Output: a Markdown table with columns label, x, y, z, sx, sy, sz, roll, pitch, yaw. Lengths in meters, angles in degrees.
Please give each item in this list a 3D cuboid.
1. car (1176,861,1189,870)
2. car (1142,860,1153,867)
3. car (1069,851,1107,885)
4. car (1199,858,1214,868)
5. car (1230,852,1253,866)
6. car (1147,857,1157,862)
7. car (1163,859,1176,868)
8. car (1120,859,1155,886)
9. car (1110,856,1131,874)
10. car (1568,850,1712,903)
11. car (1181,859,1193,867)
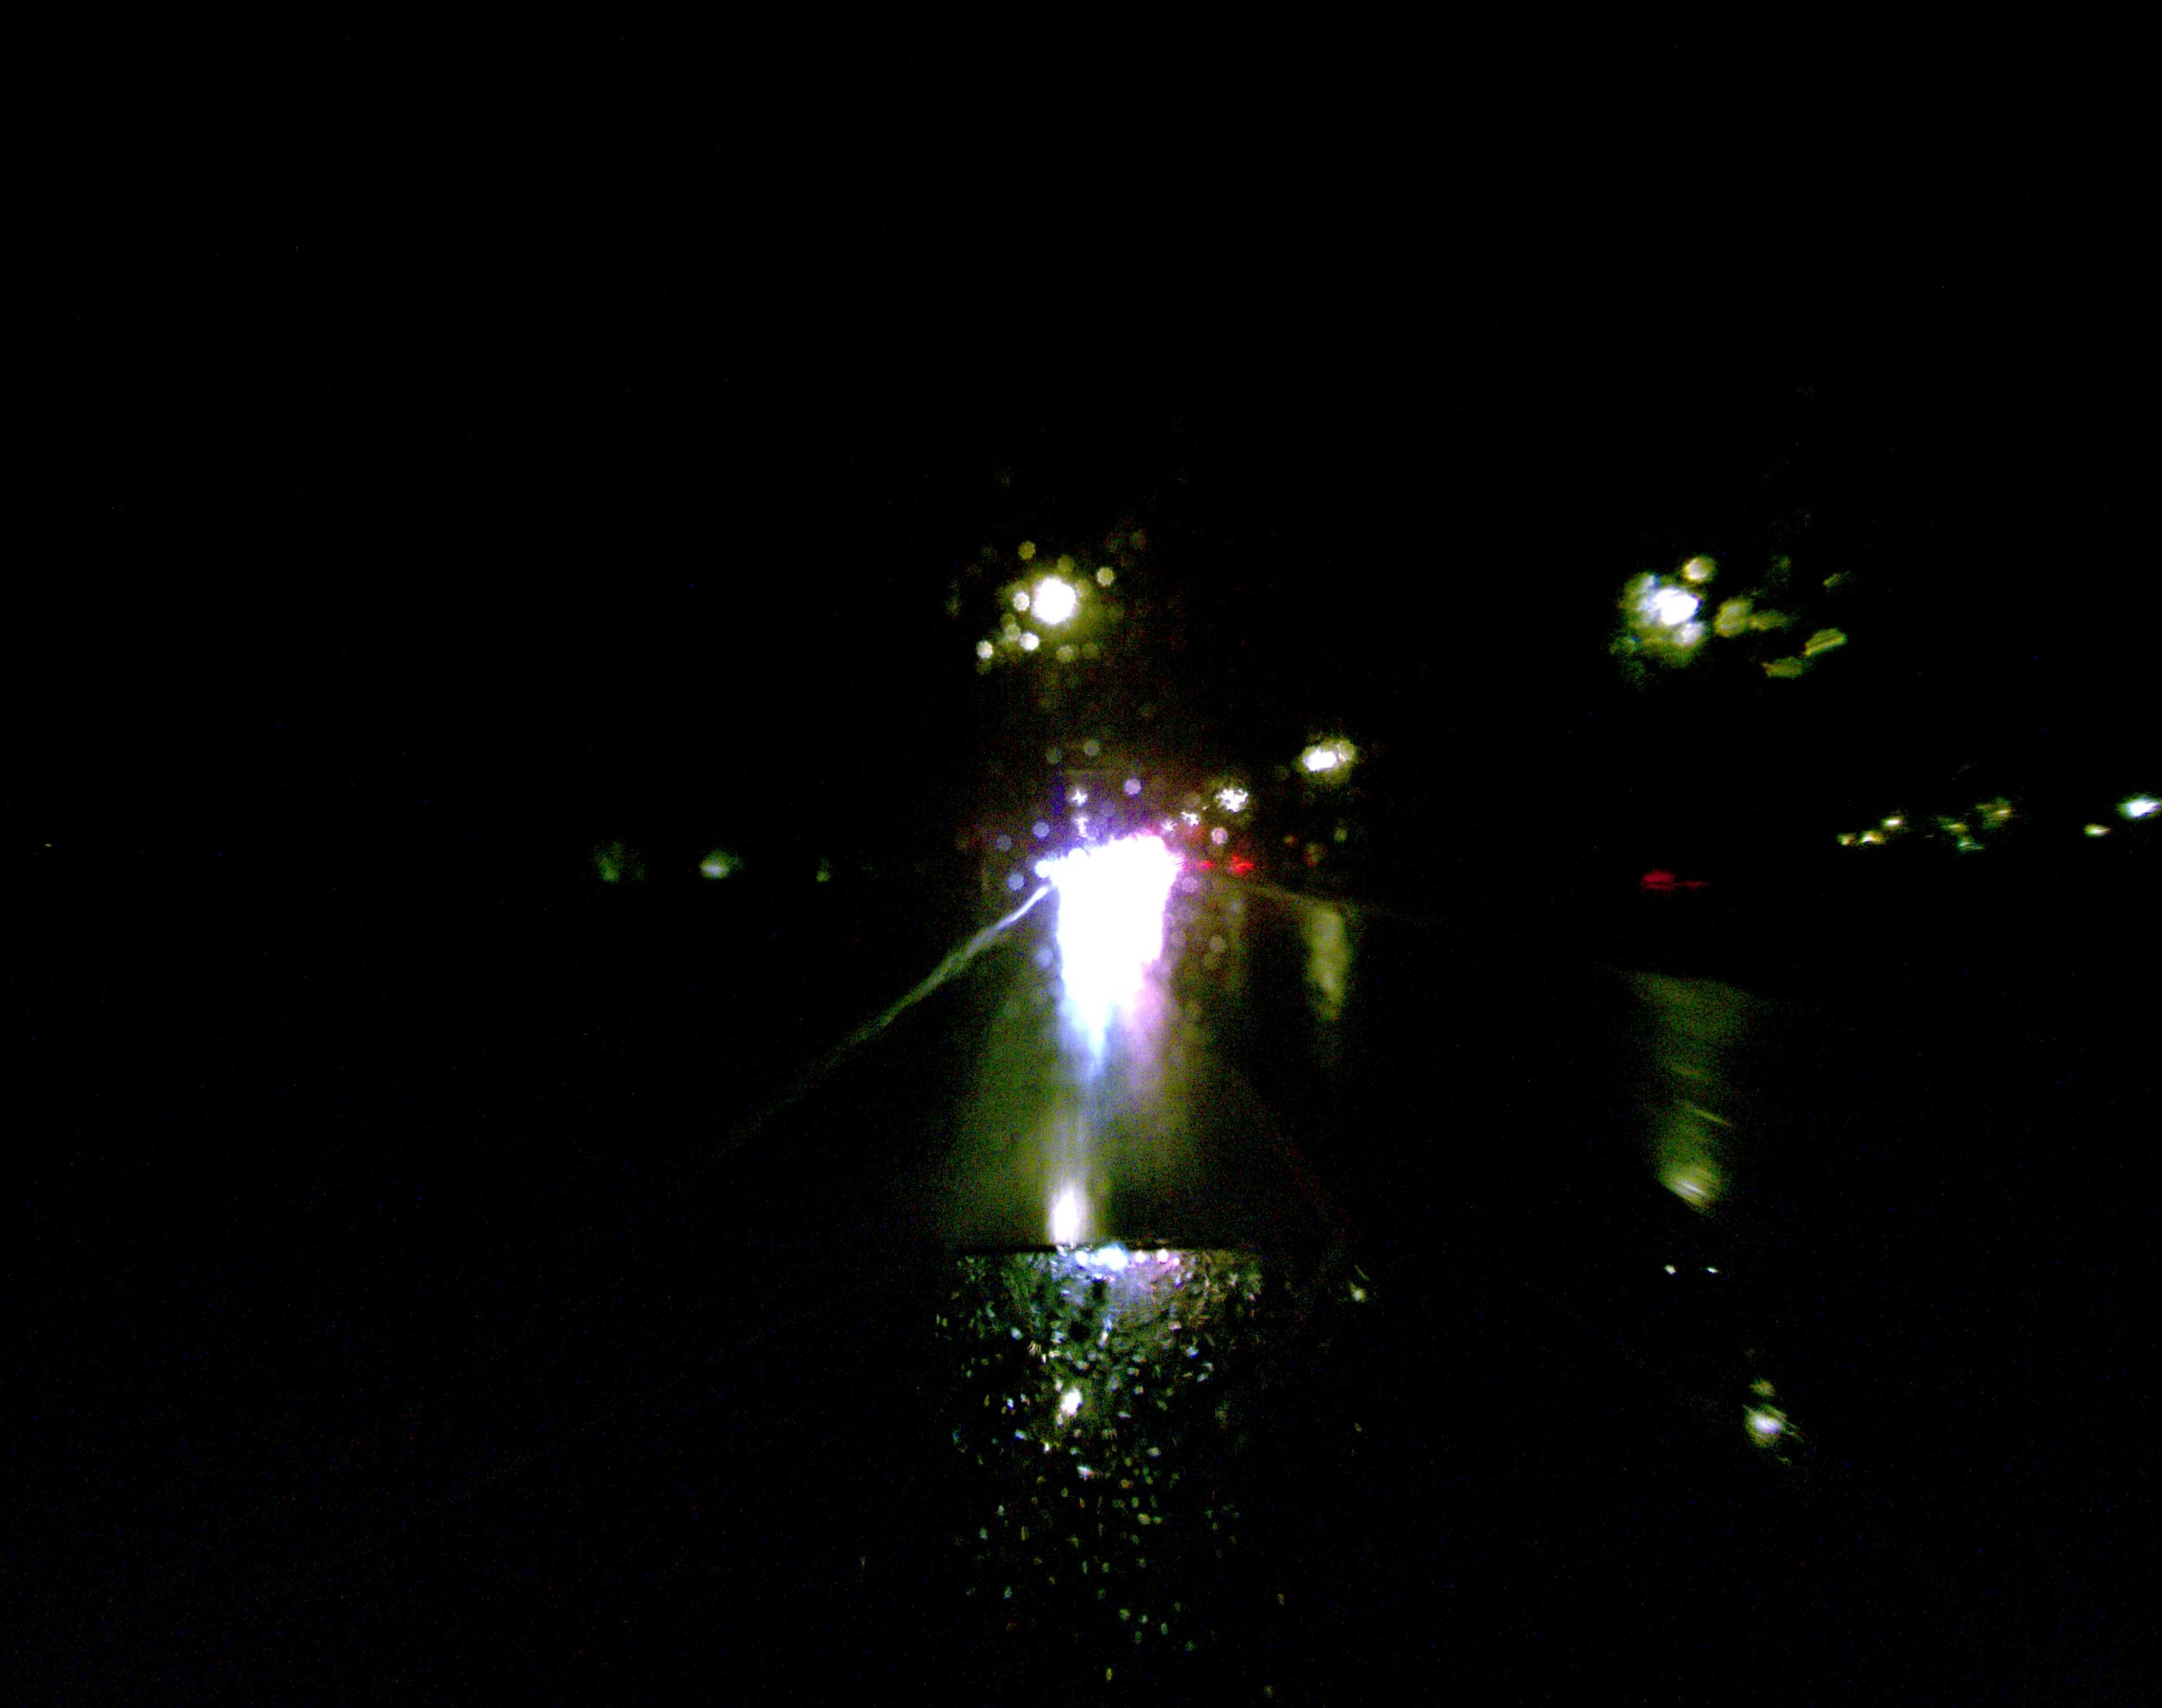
| label | x | y | z | sx | sy | sz | roll | pitch | yaw |
| --- | --- | --- | --- | --- | --- | --- | --- | --- | --- |
| car | 19.168 | 2.222 | 143.578 | 1.847 | 1.583 | 4.366 | -1 | 0 | 2 |
| car | 15.175 | 2.080 | 173.701 | 1.848 | 1.583 | 5.326 | -1 | 0 | -3 |
| car | 0.413 | 0.743 | 41.789 | 1.950 | 1.709 | 4.442 | -1 | 0 | 1 |
| car | 20.964 | 1.568 | 127.114 | 1.847 | 1.583 | 4.366 | -1 | 0 | 2 |
| car | 20.803 | 0.657 | 98.775 | 2.029 | 1.674 | 4.548 | -1 | 0 | 0 |
| car | 17.754 | 1.362 | 190.853 | 1.848 | 1.350 | 5.558 | -1 | 0 | 0 |
| car | 15.249 | 1.675 | 130.910 | 1.847 | 1.477 | 4.366 | -1 | 0 | 2 |
| car | 3.460 | 1.109 | 47.201 | 1.833 | 1.518 | 4.875 | -1 | 0 | 1 |
| car | 3.789 | 1.041 | 73.050 | 1.833 | 1.696 | 4.194 | -1 | 0 | 1 |
| car | 19.593 | 0.739 | 26.921 | 1.833 | 1.703 | 4.441 | -1 | 0 | 1 |
| car | 21.348 | 1.768 | 153.118 | 1.847 | 1.583 | 4.366 | -1 | 0 | 2 |
